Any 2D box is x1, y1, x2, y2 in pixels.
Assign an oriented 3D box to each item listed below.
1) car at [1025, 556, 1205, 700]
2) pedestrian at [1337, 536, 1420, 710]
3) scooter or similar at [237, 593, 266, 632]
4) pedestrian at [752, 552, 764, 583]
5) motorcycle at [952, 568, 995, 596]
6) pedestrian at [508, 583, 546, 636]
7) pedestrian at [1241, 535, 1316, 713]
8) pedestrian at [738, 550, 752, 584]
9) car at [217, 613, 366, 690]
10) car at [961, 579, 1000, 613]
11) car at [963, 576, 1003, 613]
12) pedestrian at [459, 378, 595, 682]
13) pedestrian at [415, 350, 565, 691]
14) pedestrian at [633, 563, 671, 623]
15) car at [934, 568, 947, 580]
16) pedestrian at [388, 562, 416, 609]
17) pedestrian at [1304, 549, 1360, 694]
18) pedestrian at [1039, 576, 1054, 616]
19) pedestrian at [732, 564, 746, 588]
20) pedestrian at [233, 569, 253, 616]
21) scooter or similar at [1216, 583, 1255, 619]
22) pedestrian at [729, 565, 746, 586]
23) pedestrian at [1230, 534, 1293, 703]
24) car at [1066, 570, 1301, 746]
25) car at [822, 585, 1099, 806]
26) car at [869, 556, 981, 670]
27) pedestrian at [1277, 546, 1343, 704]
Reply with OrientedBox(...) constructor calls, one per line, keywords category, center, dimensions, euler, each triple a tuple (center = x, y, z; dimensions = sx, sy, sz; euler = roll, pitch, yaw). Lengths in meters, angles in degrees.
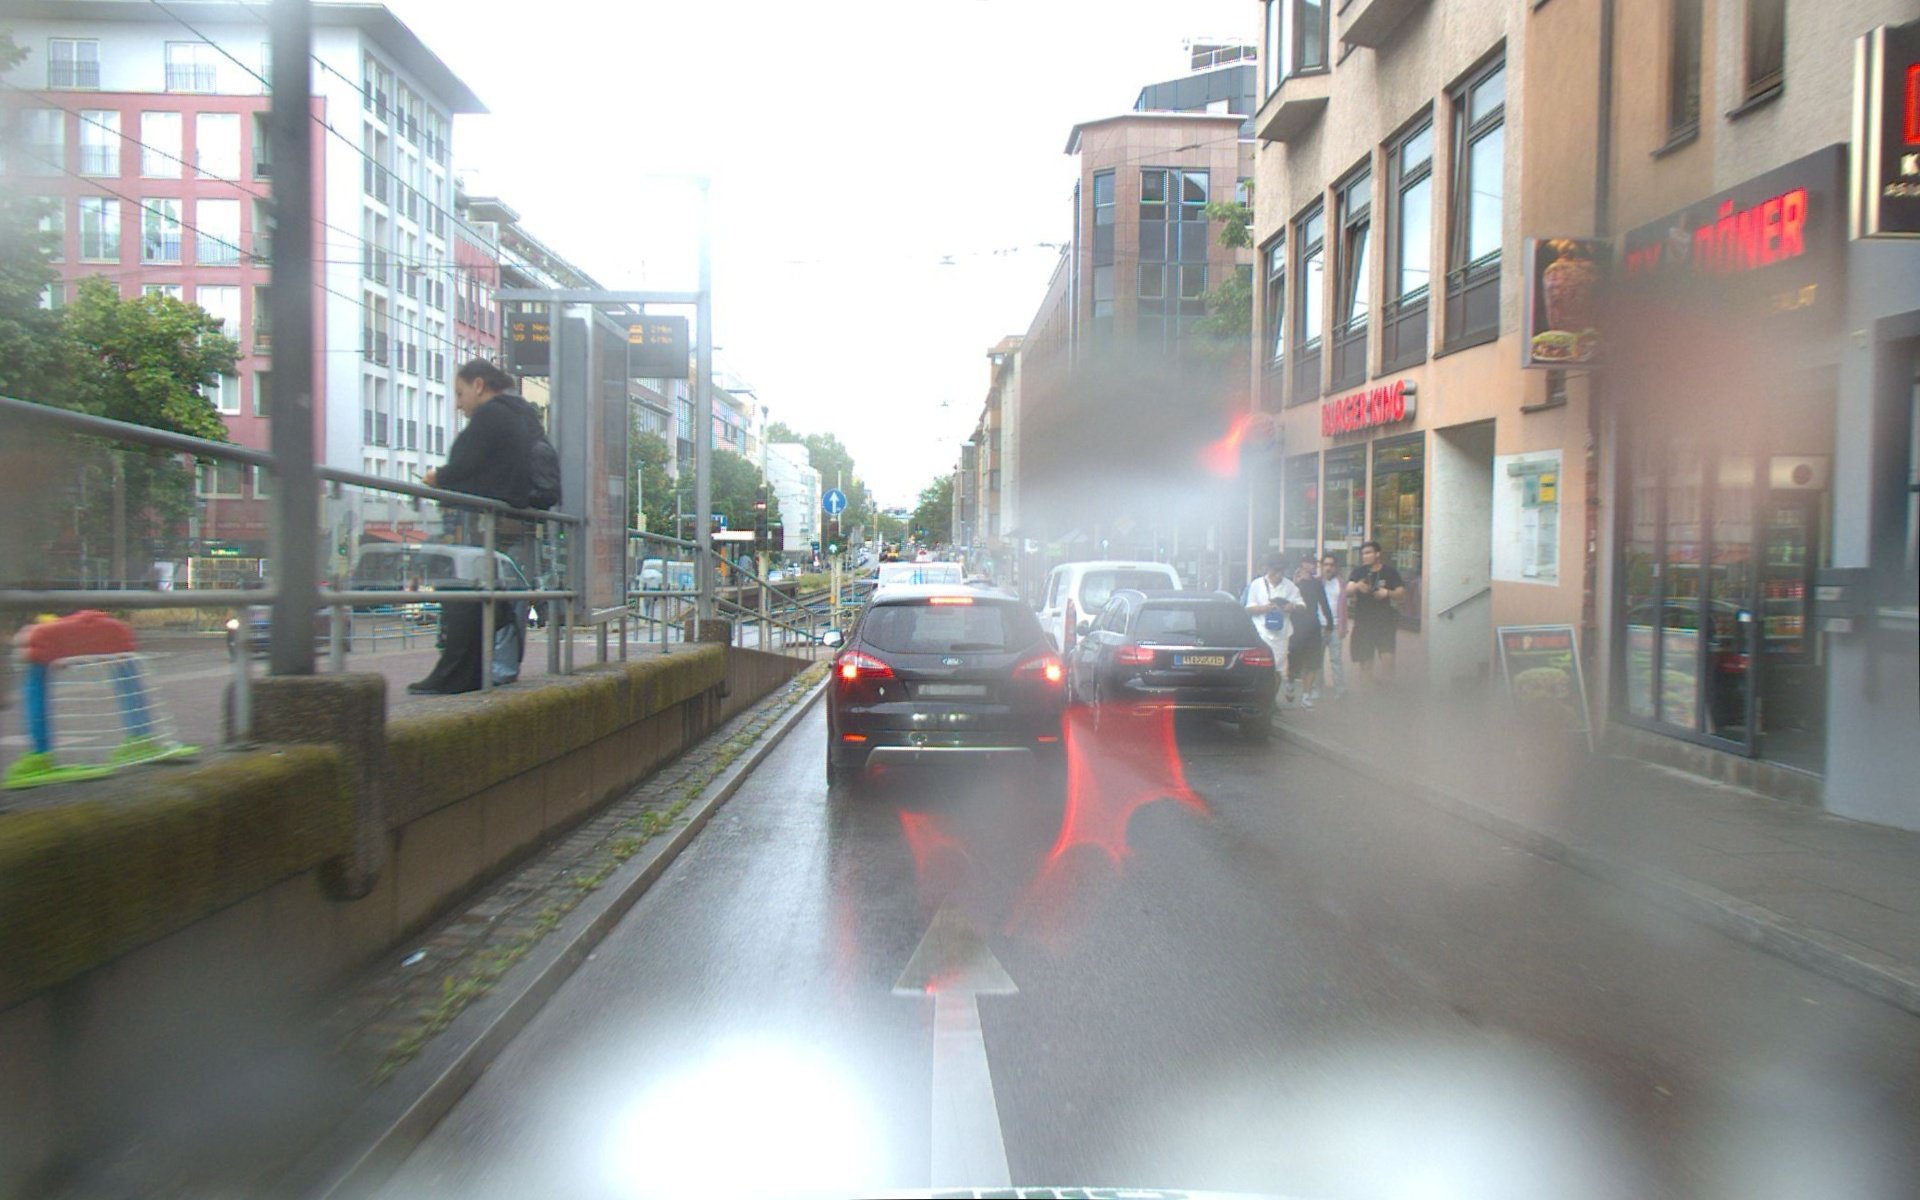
OrientedBox(category="car", center=(2.076, 0.340, 23.470), dimensions=(1.868, 1.838, 4.774), euler=(0, 0, -3))
OrientedBox(category="pedestrian", center=(4.548, 0.244, 18.014), dimensions=(0.740, 1.851, 0.588), euler=(-1, 0, 0))
OrientedBox(category="scooter or similar", center=(-22.432, 0.381, 52.362), dimensions=(0.381, 1.212, 1.212), euler=(-1, 0, 0))
OrientedBox(category="pedestrian", center=(-12.137, -1.935, 99.341), dimensions=(0.642, 1.833, 0.849), euler=(0, 1, -3))
OrientedBox(category="motorcycle", center=(0.701, -0.927, 85.183), dimensions=(2.040, 1.432, 0.799), euler=(0, 0, 17))
OrientedBox(category="pedestrian", center=(-13.893, 0.293, 53.068), dimensions=(0.861, 1.659, 0.808), euler=(1, 3, 17))
OrientedBox(category="pedestrian", center=(3.452, 0.254, 17.956), dimensions=(0.681, 1.887, 0.652), euler=(-1, 0, 0))
OrientedBox(category="pedestrian", center=(-11.070, -1.698, 85.178), dimensions=(0.642, 1.741, 0.849), euler=(0, 1, -3))
OrientedBox(category="car", center=(-14.316, 1.049, 35.681), dimensions=(1.658, 1.488, 4.527), euler=(0, 0, -4))
OrientedBox(category="car", center=(0.925, -0.209, 77.202), dimensions=(1.664, 1.487, 3.866), euler=(-2, 0, -1))
OrientedBox(category="car", center=(0.984, -0.251, 72.638), dimensions=(1.664, 1.505, 3.867), euler=(-2, 0, 0))
OrientedBox(category="pedestrian", center=(-2.345, -0.370, 9.014), dimensions=(0.572, 1.585, 0.700), euler=(-1, 0, -4))
OrientedBox(category="pedestrian", center=(-2.341, -0.388, 8.306), dimensions=(0.572, 1.637, 0.700), euler=(-1, 0, -4))
OrientedBox(category="pedestrian", center=(-10.696, -0.239, 57.464), dimensions=(1.093, 2.049, 1.383), euler=(-1, 0, -1))
OrientedBox(category="car", center=(-2.812, -3.856, 243.315), dimensions=(1.867, 1.662, 4.573), euler=(0, 0, 0))
OrientedBox(category="pedestrian", center=(-20.939, -0.544, 62.082), dimensions=(0.804, 1.727, 0.984), euler=(1, 0, -10))
OrientedBox(category="pedestrian", center=(4.539, 0.254, 20.201), dimensions=(0.564, 1.744, 0.477), euler=(-1, 0, 0))
OrientedBox(category="pedestrian", center=(3.695, -0.178, 70.965), dimensions=(0.589, 1.688, 0.625), euler=(-1, 0, -1))
OrientedBox(category="pedestrian", center=(-11.814, -1.299, 88.280), dimensions=(0.679, 1.271, 0.884), euler=(0, 1, -4))
OrientedBox(category="pedestrian", center=(-25.260, -0.262, 58.257), dimensions=(0.571, 1.660, 0.606), euler=(1, 0, -27))
OrientedBox(category="scooter or similar", center=(9.878, 0.032, 59.344), dimensions=(1.345, 1.248, 0.325), euler=(-1, 0, 2))
OrientedBox(category="pedestrian", center=(-12.151, -1.346, 90.313), dimensions=(0.876, 1.143, 0.847), euler=(0, 1, -12))
OrientedBox(category="pedestrian", center=(3.576, 0.215, 19.633), dimensions=(0.638, 1.982, 0.533), euler=(-1, 0, 0))
OrientedBox(category="car", center=(2.243, 0.529, 17.724), dimensions=(1.868, 1.644, 4.413), euler=(0, 0, -1))
OrientedBox(category="car", center=(-0.020, 0.633, 12.882), dimensions=(1.868, 1.488, 3.444), euler=(0, 0, -1))
OrientedBox(category="car", center=(-0.617, 0.210, 29.846), dimensions=(1.868, 1.897, 4.573), euler=(0, 0, -1))
OrientedBox(category="pedestrian", center=(3.915, 0.274, 18.535), dimensions=(0.598, 1.744, 0.581), euler=(-1, 0, 0))
